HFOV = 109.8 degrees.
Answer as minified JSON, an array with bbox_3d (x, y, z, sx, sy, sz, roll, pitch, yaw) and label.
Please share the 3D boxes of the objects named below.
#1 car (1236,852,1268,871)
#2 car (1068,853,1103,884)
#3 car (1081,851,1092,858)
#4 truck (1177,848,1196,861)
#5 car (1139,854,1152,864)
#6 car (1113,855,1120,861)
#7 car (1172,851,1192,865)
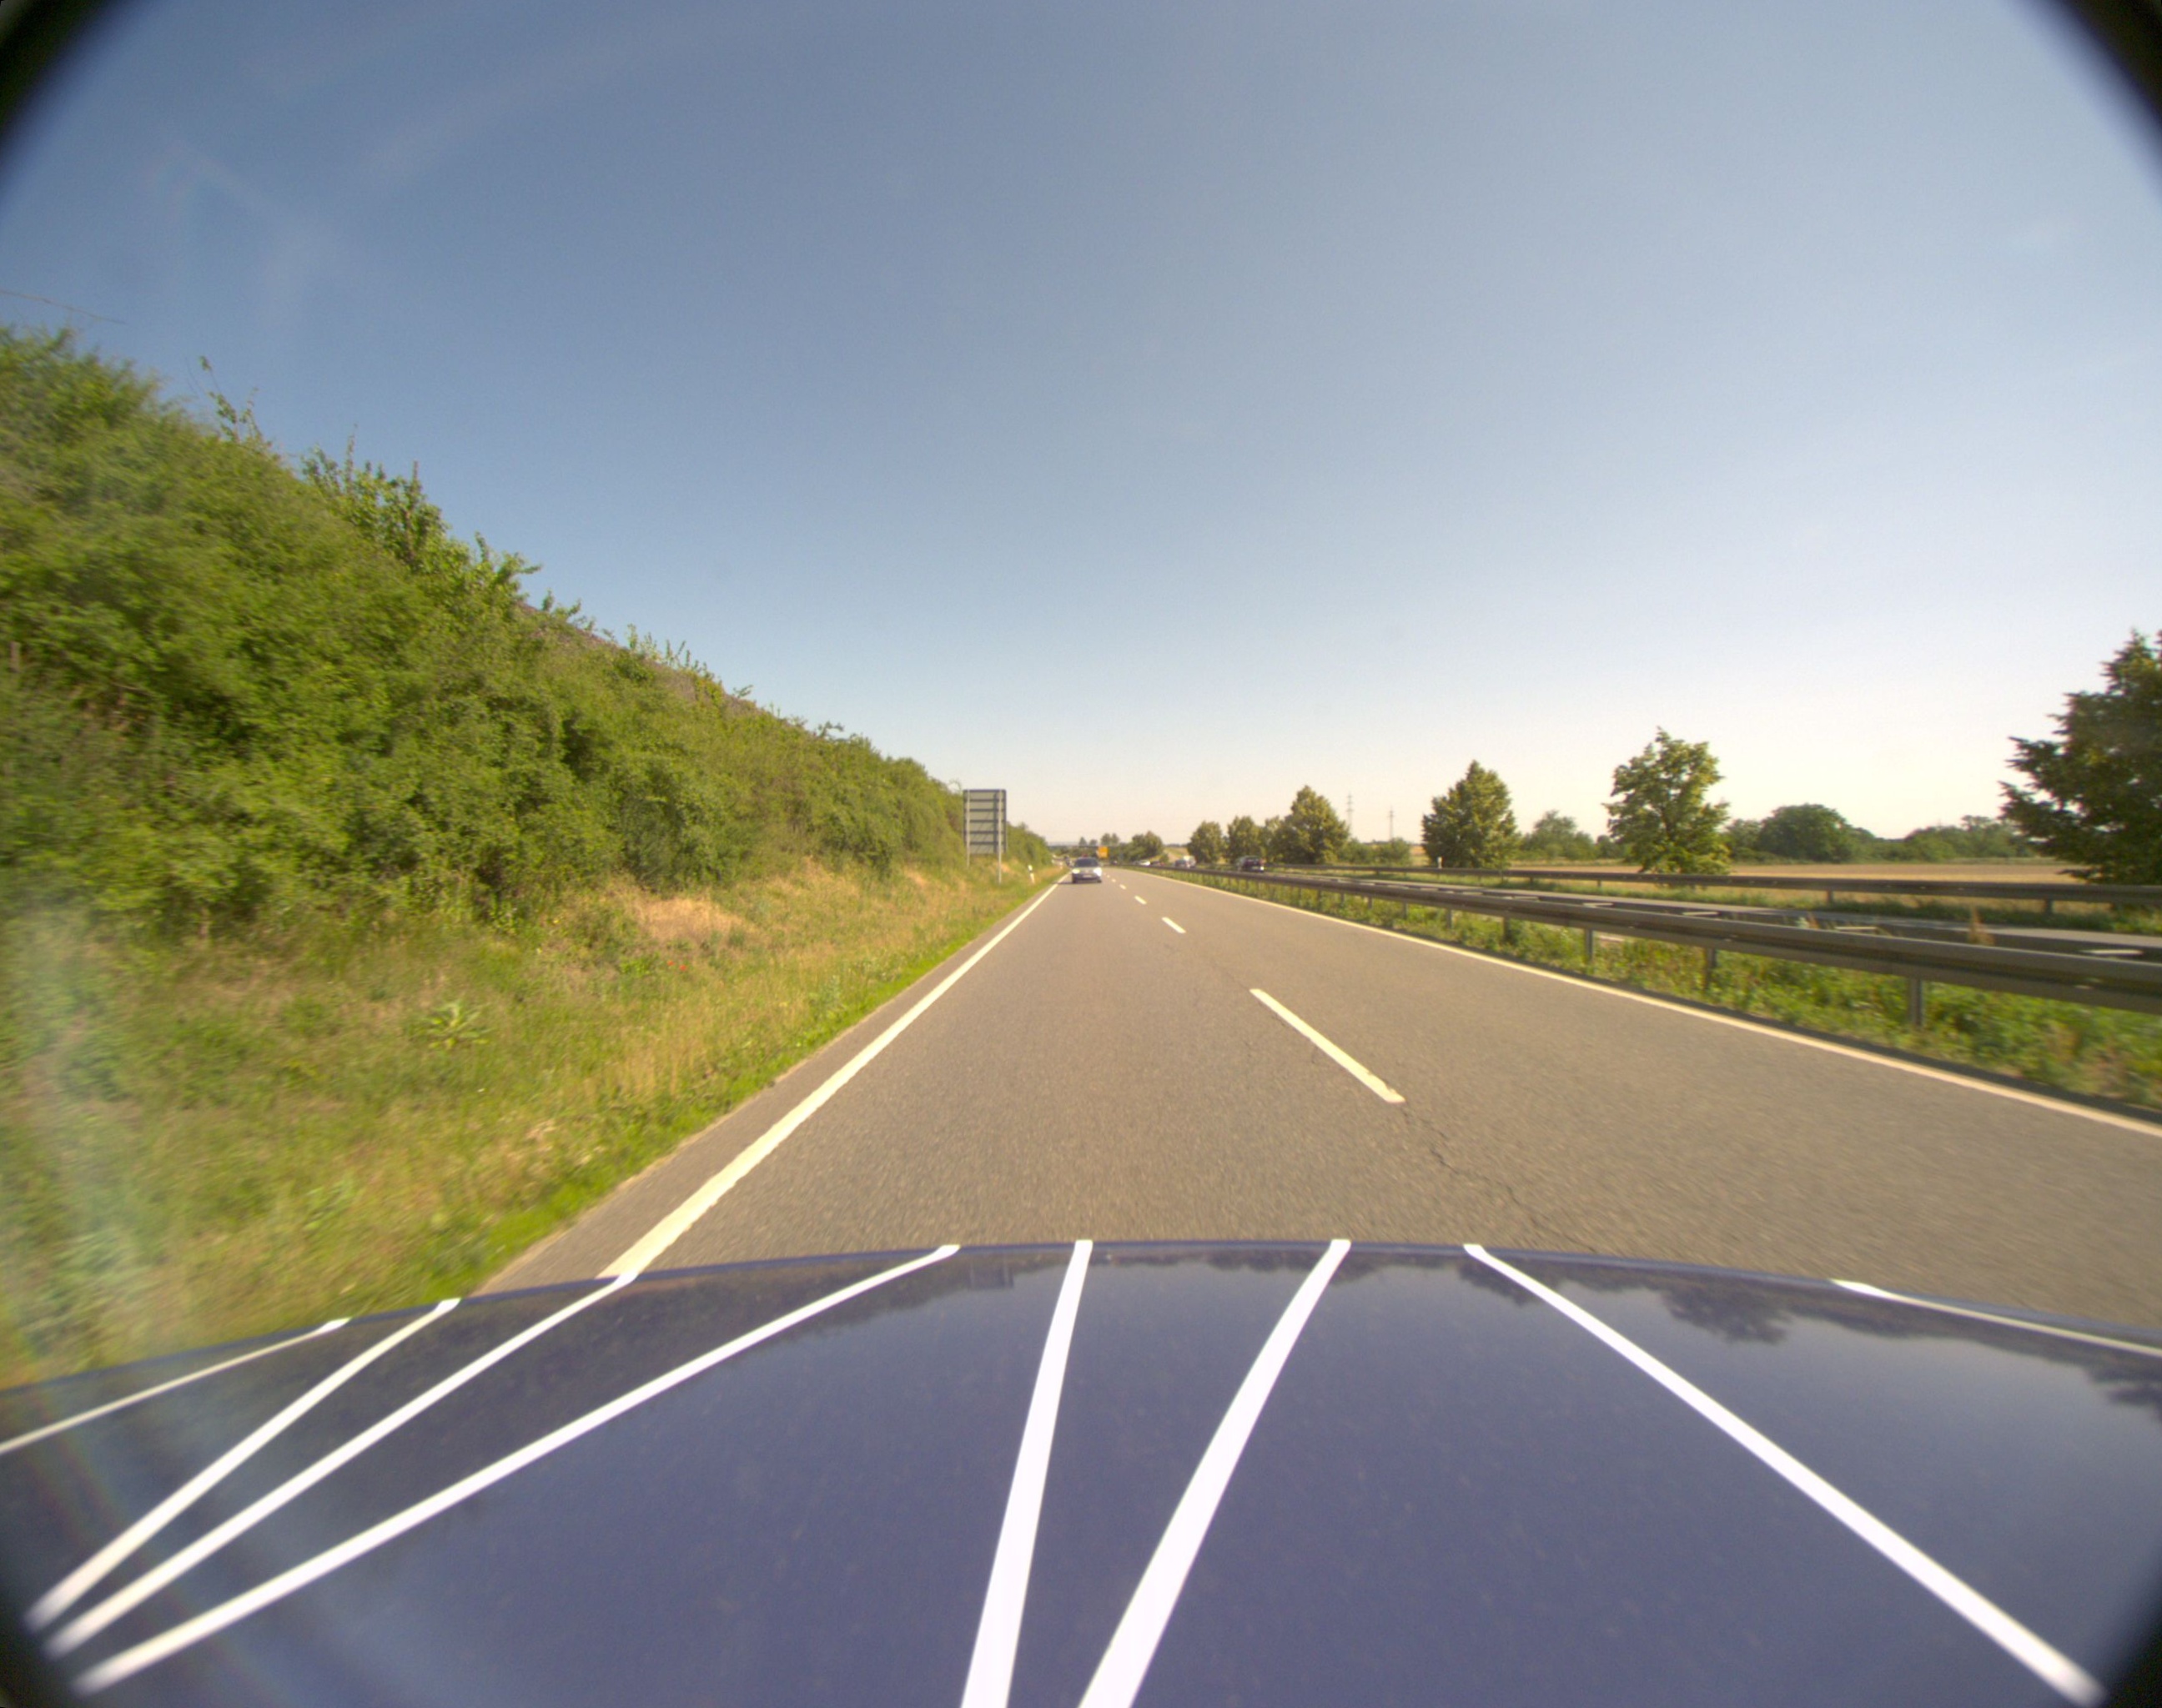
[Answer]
[{"bbox_3d":[14.568,0.613,65.081,1.817,1.533,4.453,-1,0,2],"label":"car"},{"bbox_3d":[0.305,0.855,46.776,1.854,1.635,4.000,-3,1,4],"label":"car"},{"bbox_3d":[1.016,0.075,135.039,1.790,1.212,3.999,-2,1,1],"label":"car"},{"bbox_3d":[15.029,0.081,107.996,1.927,1.829,5.292,-2,0,0],"label":"truck"},{"bbox_3d":[11.612,0.871,136.514,1.843,1.655,4.721,-3,0,1],"label":"car"},{"bbox_3d":[10.891,1.239,234.263,1.694,1.532,4.243,-2,0,-1],"label":"car"},{"bbox_3d":[11.735,0.485,88.125,1.817,1.533,4.453,-1,0,2],"label":"car"}]
